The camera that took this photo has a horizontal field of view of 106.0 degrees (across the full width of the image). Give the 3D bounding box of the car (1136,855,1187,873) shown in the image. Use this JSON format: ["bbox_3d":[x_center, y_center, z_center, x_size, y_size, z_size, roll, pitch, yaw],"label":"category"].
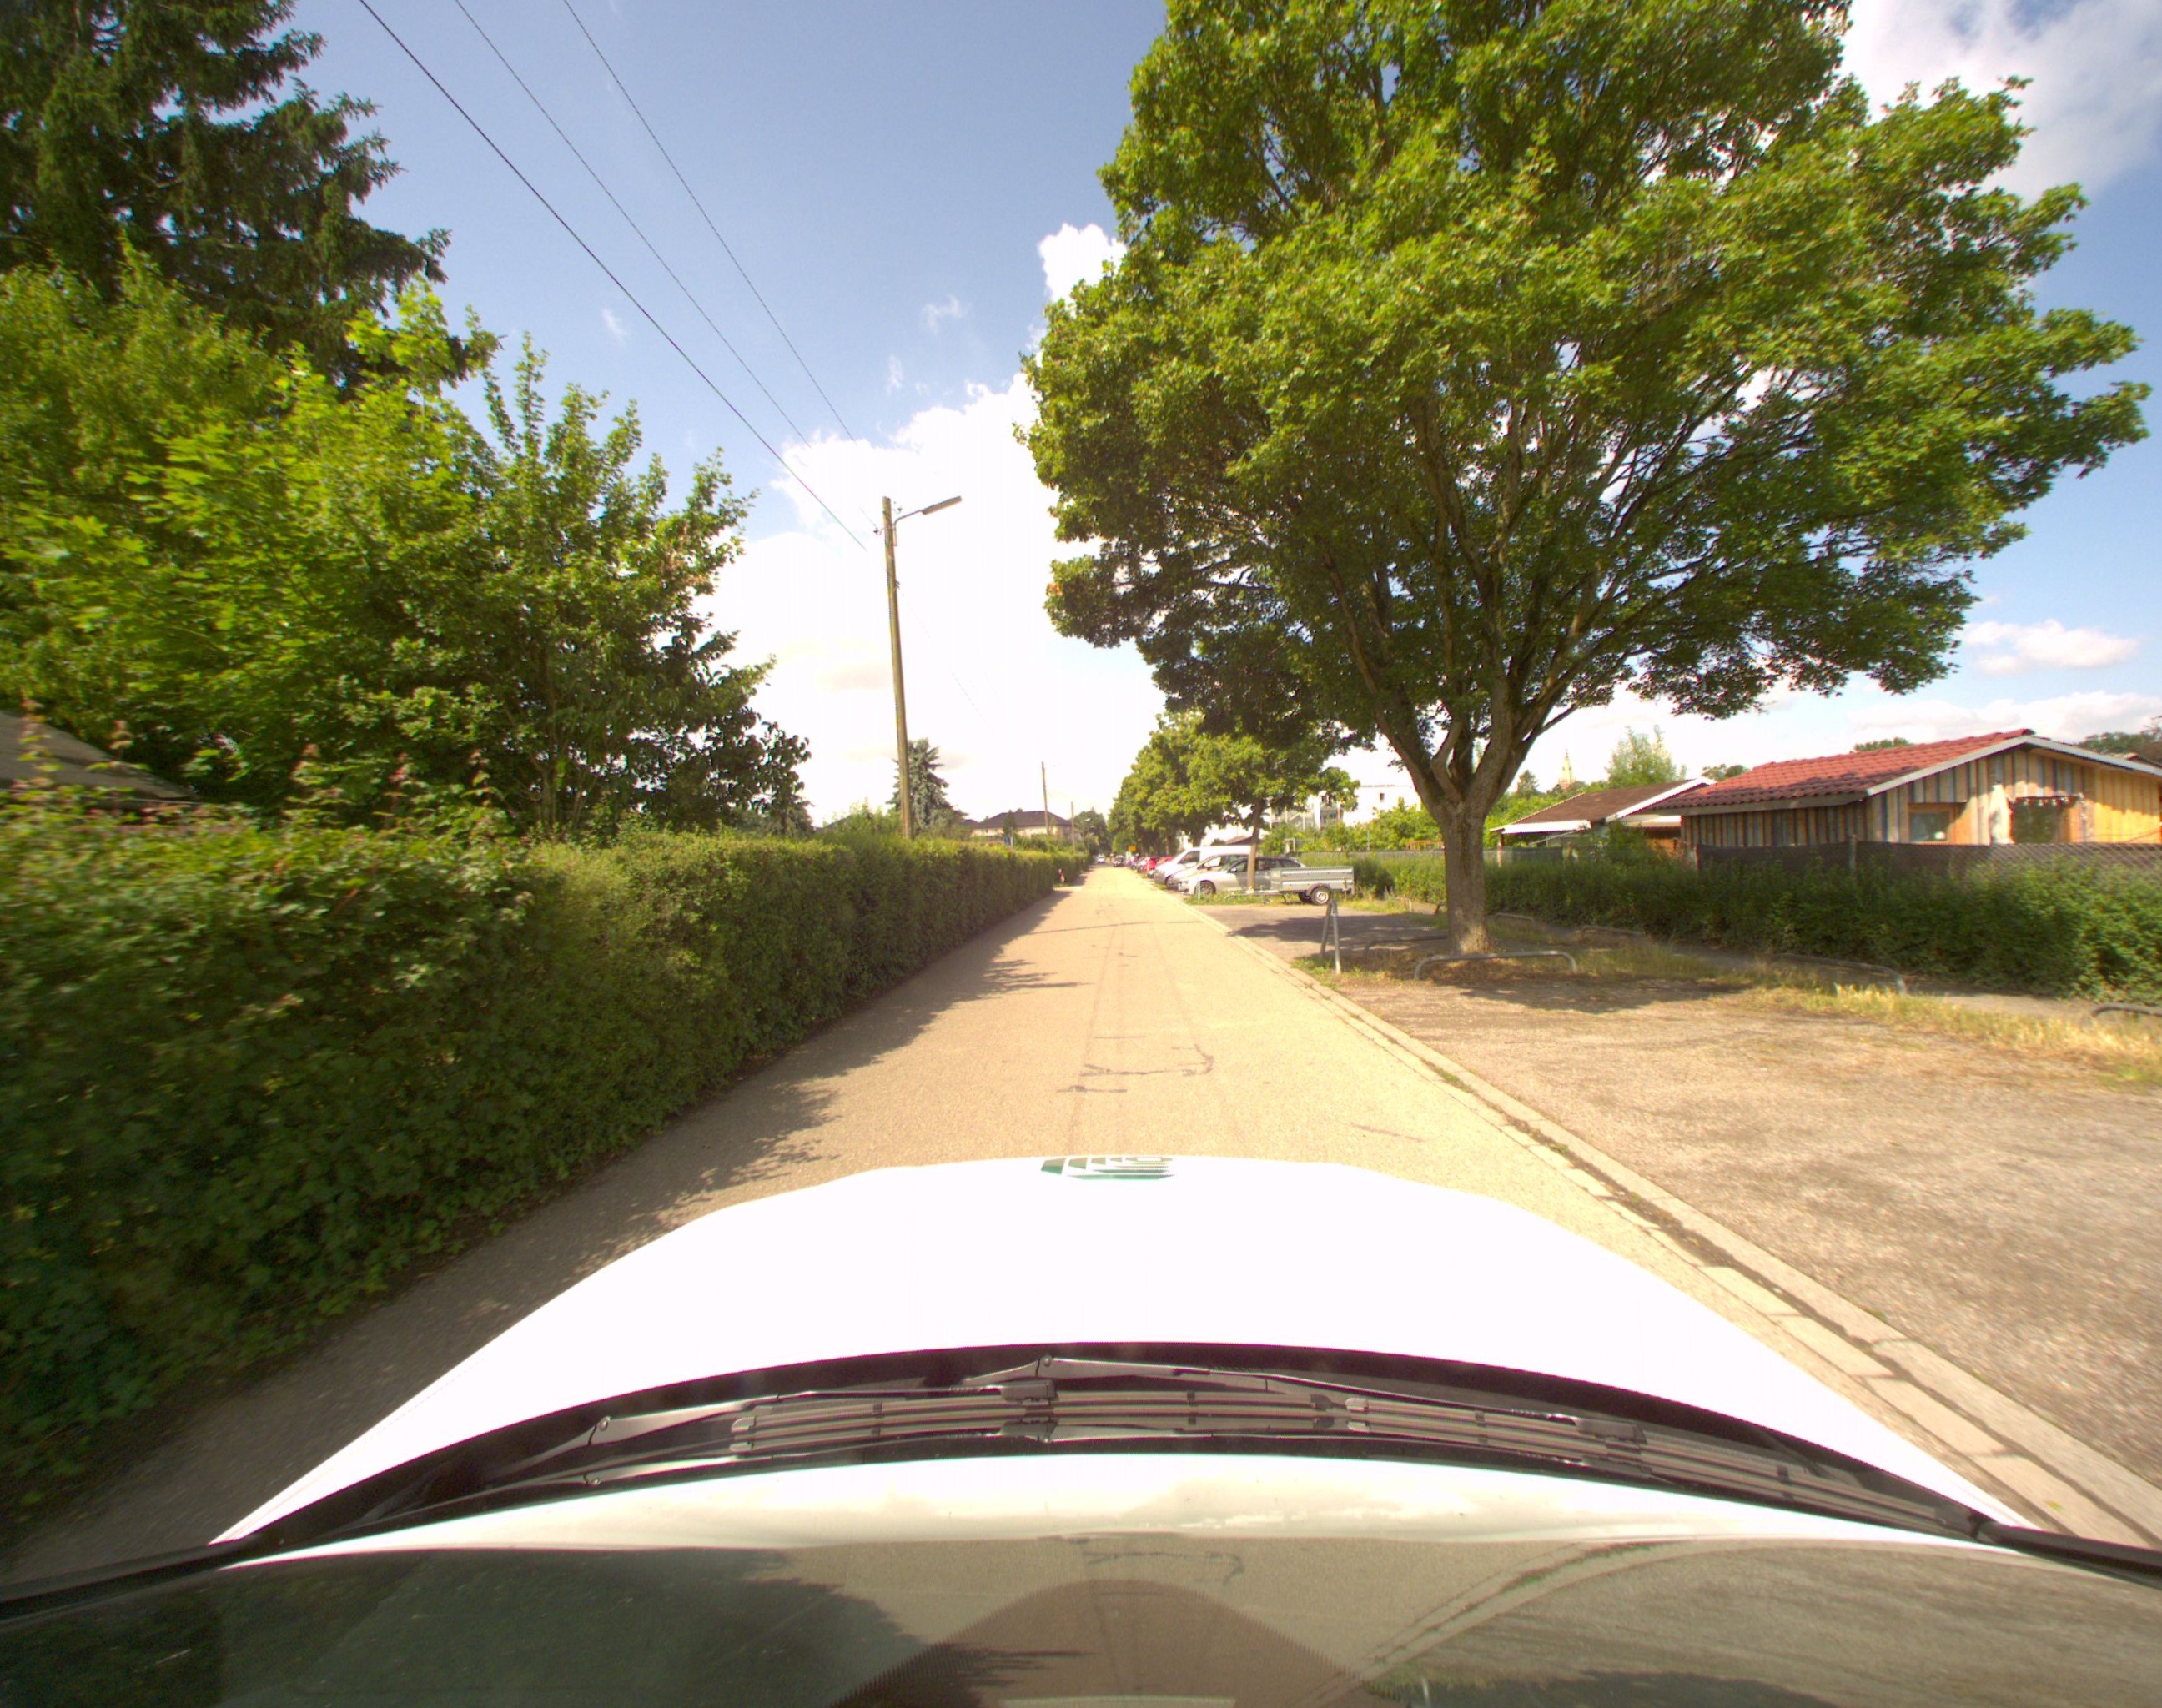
[{"bbox_3d":[6.605,0.851,67.238,4.053,1.455,1.869,0,-1,-1],"label":"car"}]

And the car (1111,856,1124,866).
[{"bbox_3d":[5.576,1.058,122.627,1.654,1.506,4.007,0,-1,7],"label":"car"}]

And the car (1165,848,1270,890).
[{"bbox_3d":[5.854,0.624,35.412,4.227,1.592,2.001,-3,0,2],"label":"car"}]

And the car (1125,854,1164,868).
[{"bbox_3d":[7.612,0.846,97.753,4.533,1.578,1.808,0,-1,0],"label":"car"}]

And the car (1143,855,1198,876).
[{"bbox_3d":[6.642,0.843,60.551,3.968,1.519,1.857,0,-1,5],"label":"car"}]

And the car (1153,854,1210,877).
[{"bbox_3d":[6.855,0.777,55.743,3.750,1.574,1.870,0,-1,1],"label":"car"}]

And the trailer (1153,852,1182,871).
[{"bbox_3d":[7.982,0.707,75.015,2.443,1.720,1.517,0,0,-2],"label":"trailer"}]

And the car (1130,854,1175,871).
[{"bbox_3d":[7.039,0.857,80.509,4.287,1.594,2.000,0,-1,1],"label":"car"}]

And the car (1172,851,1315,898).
[{"bbox_3d":[5.595,0.686,28.456,4.565,1.466,1.999,-1,0,-2],"label":"car"}]

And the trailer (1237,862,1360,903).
[{"bbox_3d":[6.254,0.802,23.704,3.088,1.142,2.001,0,-1,2],"label":"trailer"}]

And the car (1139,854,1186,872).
[{"bbox_3d":[7.082,0.809,70.837,4.046,1.511,1.960,0,-1,4],"label":"car"}]

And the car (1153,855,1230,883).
[{"bbox_3d":[6.152,0.851,45.804,4.166,1.504,1.879,0,-1,2],"label":"car"}]

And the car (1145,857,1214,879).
[{"bbox_3d":[6.380,0.892,53.026,4.228,1.428,1.907,0,-1,-2],"label":"car"}]

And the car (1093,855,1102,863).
[{"bbox_3d":[3.916,1.185,191.299,1.894,1.814,4.005,0,-1,4],"label":"car"}]

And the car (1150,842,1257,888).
[{"bbox_3d":[5.670,0.521,38.164,4.619,1.886,2.111,-3,0,0],"label":"car"}]
